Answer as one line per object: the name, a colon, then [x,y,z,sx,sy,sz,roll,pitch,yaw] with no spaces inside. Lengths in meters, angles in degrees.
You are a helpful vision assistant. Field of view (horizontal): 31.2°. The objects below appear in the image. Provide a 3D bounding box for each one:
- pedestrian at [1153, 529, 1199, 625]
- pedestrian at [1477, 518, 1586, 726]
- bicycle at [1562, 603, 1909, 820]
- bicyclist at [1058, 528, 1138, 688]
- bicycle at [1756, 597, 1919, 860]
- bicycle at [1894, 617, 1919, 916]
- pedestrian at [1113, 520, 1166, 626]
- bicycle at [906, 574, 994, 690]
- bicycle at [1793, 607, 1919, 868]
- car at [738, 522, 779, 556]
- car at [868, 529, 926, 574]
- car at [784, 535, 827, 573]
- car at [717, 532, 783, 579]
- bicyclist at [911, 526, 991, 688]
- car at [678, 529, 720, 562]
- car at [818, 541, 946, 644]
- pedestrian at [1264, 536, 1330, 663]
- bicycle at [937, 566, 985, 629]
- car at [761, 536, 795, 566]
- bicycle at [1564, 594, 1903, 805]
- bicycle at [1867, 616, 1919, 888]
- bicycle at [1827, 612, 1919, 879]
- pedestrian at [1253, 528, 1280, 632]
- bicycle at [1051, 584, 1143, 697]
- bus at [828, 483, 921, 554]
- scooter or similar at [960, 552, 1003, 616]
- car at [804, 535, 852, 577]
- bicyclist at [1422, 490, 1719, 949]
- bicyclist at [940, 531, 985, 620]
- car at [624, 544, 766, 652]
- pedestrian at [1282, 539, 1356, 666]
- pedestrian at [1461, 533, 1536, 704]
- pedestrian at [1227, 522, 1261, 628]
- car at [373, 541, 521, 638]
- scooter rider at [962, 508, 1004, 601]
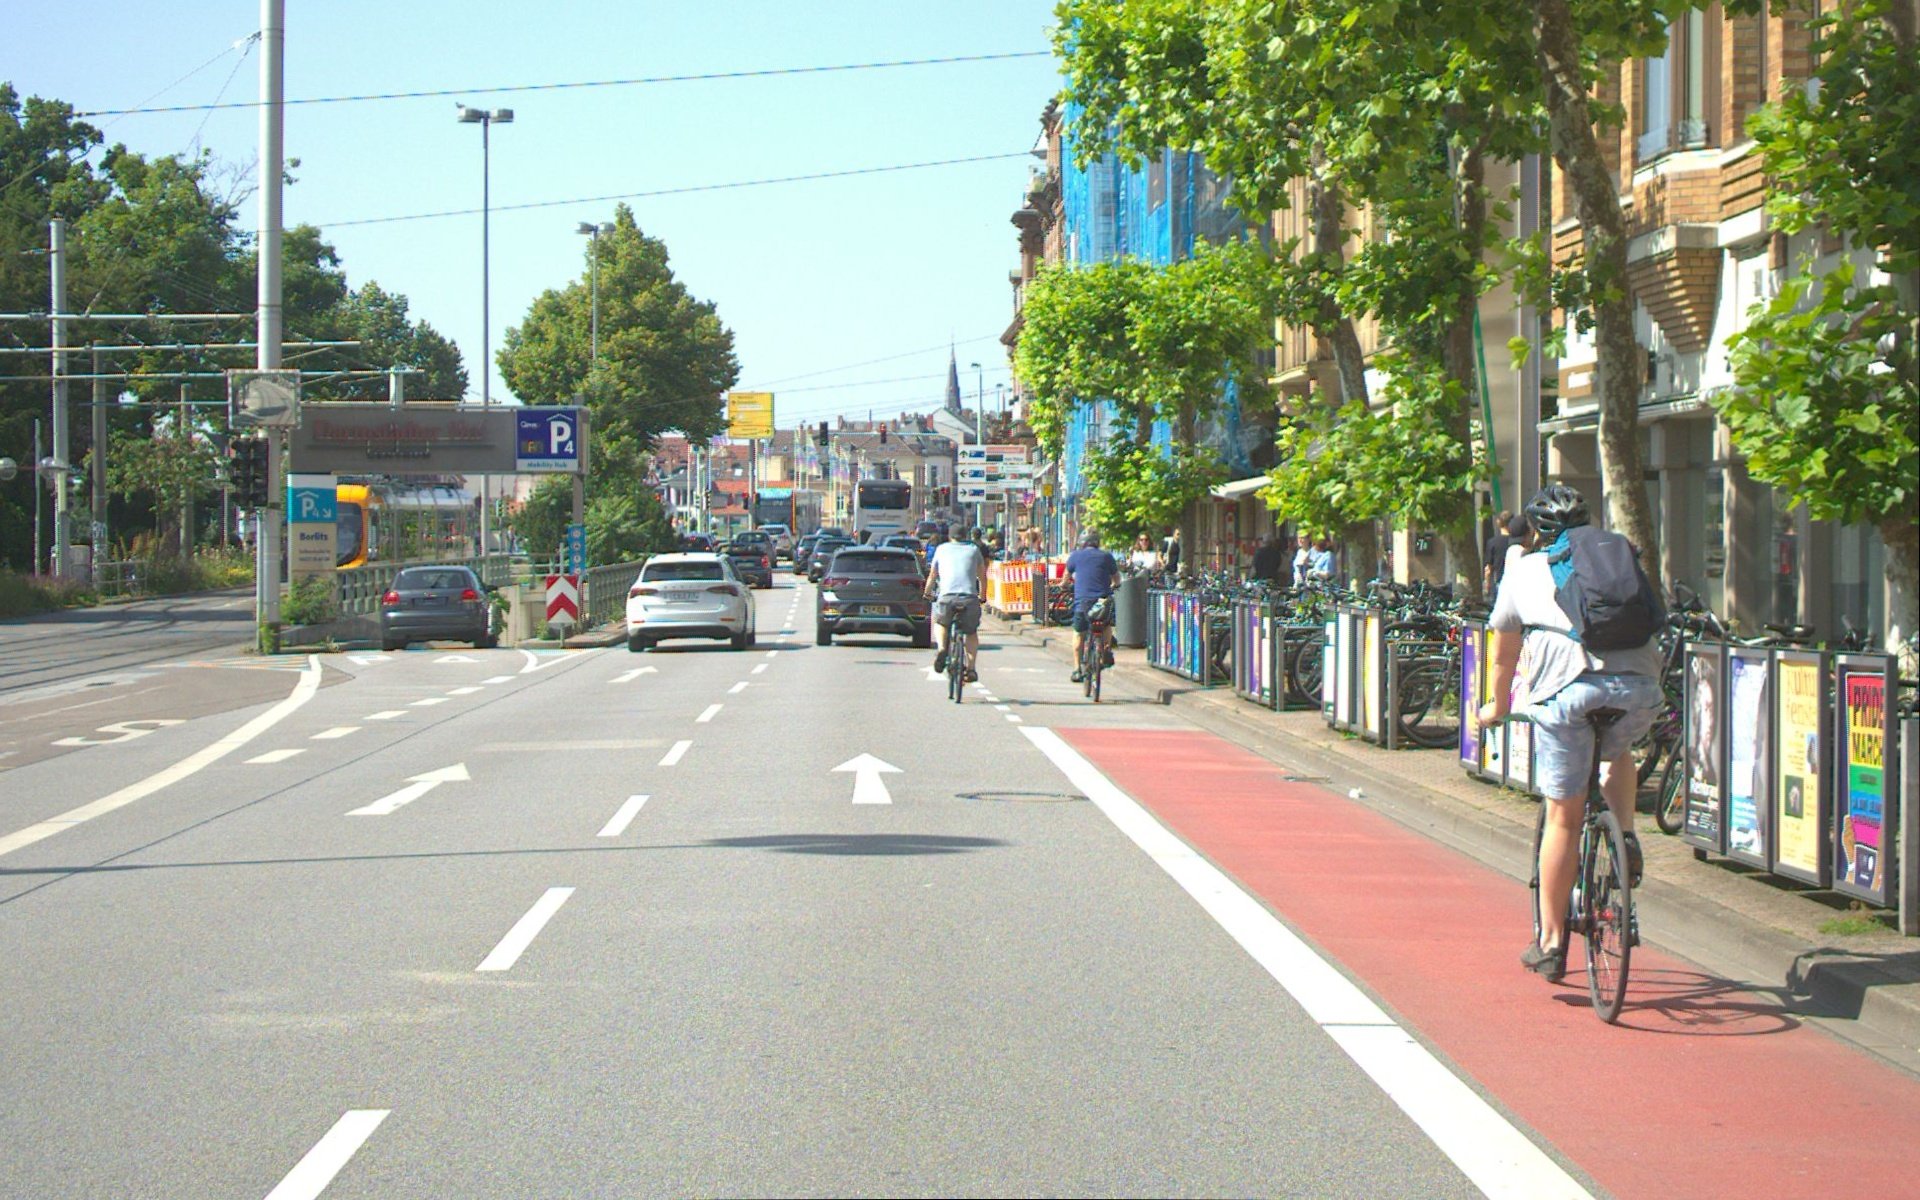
pedestrian: [4.212,-0.456,67.008,0.814,1.842,0.891,-1,0,6]
pedestrian: [4.589,0.171,27.657,0.652,1.628,0.730,2,1,-4]
bicycle: [4.195,0.597,18.640,1.752,1.143,0.483,0,1,-4]
bicyclist: [1.425,0.073,35.562,0.688,1.610,0.918,2,1,-3]
bicycle: [4.506,0.570,15.405,1.752,1.143,0.483,0,1,-4]
bicycle: [4.574,0.651,13.352,1.752,1.143,0.483,0,1,-4]
pedestrian: [2.859,-0.435,54.906,0.656,1.677,0.653,0,0,-18]
bicycle: [-0.112,0.305,34.568,0.734,1.089,1.898,2,1,-3]
bicycle: [4.545,0.591,14.882,1.752,1.101,0.483,0,1,-4]
car: [-8.160,-2.479,139.315,1.451,1.296,4.000,2,1,-1]
car: [-2.235,-1.734,122.202,1.993,1.487,4.000,2,1,-1]
car: [-5.571,-1.673,124.110,1.451,1.296,3.342,2,1,-2]
car: [-6.408,-1.371,105.292,1.815,1.327,4.000,2,1,-1]
bicyclist: [-0.100,0.059,34.451,0.688,1.571,1.050,2,1,-3]
car: [-10.687,-2.223,140.772,1.451,1.296,4.000,2,1,-1]
car: [-1.211,-0.144,53.876,1.873,1.487,4.000,2,1,-1]
pedestrian: [4.416,-0.013,45.061,0.599,1.620,0.644,-3,1,-18]
bicycle: [0.012,-0.052,61.788,0.734,1.089,1.898,2,1,-2]
car: [-8.281,-2.240,156.409,1.451,1.296,3.342,2,1,-2]
bicycle: [4.305,0.549,19.179,1.752,1.143,0.527,0,1,-4]
bicycle: [4.606,0.610,13.884,1.752,1.065,0.483,0,1,-4]
bicycle: [4.571,0.605,14.380,1.752,1.084,0.483,0,1,-4]
pedestrian: [4.954,-0.325,55.507,0.381,1.677,0.476,-1,0,10]
bicycle: [1.406,0.407,35.596,0.734,1.089,1.911,2,1,-3]
bus: [-3.630,-3.402,144.251,2.968,2.767,8.643,2,1,-7]
scooter or similar: [0.403,-0.314,64.954,0.688,1.163,1.464,2,1,-3]
car: [-4.285,-1.438,111.196,1.451,1.296,3.342,2,1,-3]
bicyclist: [2.043,0.378,11.637,0.688,1.458,1.143,2,1,-3]
bicyclist: [0.046,-0.441,61.742,0.688,1.571,1.050,2,1,-3]
car: [-3.976,-0.059,52.106,1.858,1.502,4.000,2,1,-1]
pedestrian: [4.633,0.027,44.419,0.695,1.620,0.702,-1,1,-18]
pedestrian: [5.682,0.187,36.301,0.668,1.775,0.985,0,1,2]
pedestrian: [4.552,-0.405,55.096,0.498,1.677,0.537,-1,0,6]
car: [-8.551,-0.207,57.552,1.993,1.503,4.001,2,1,-3]
scooter rider: [0.439,-0.866,64.985,0.688,1.723,0.778,2,1,-3]
